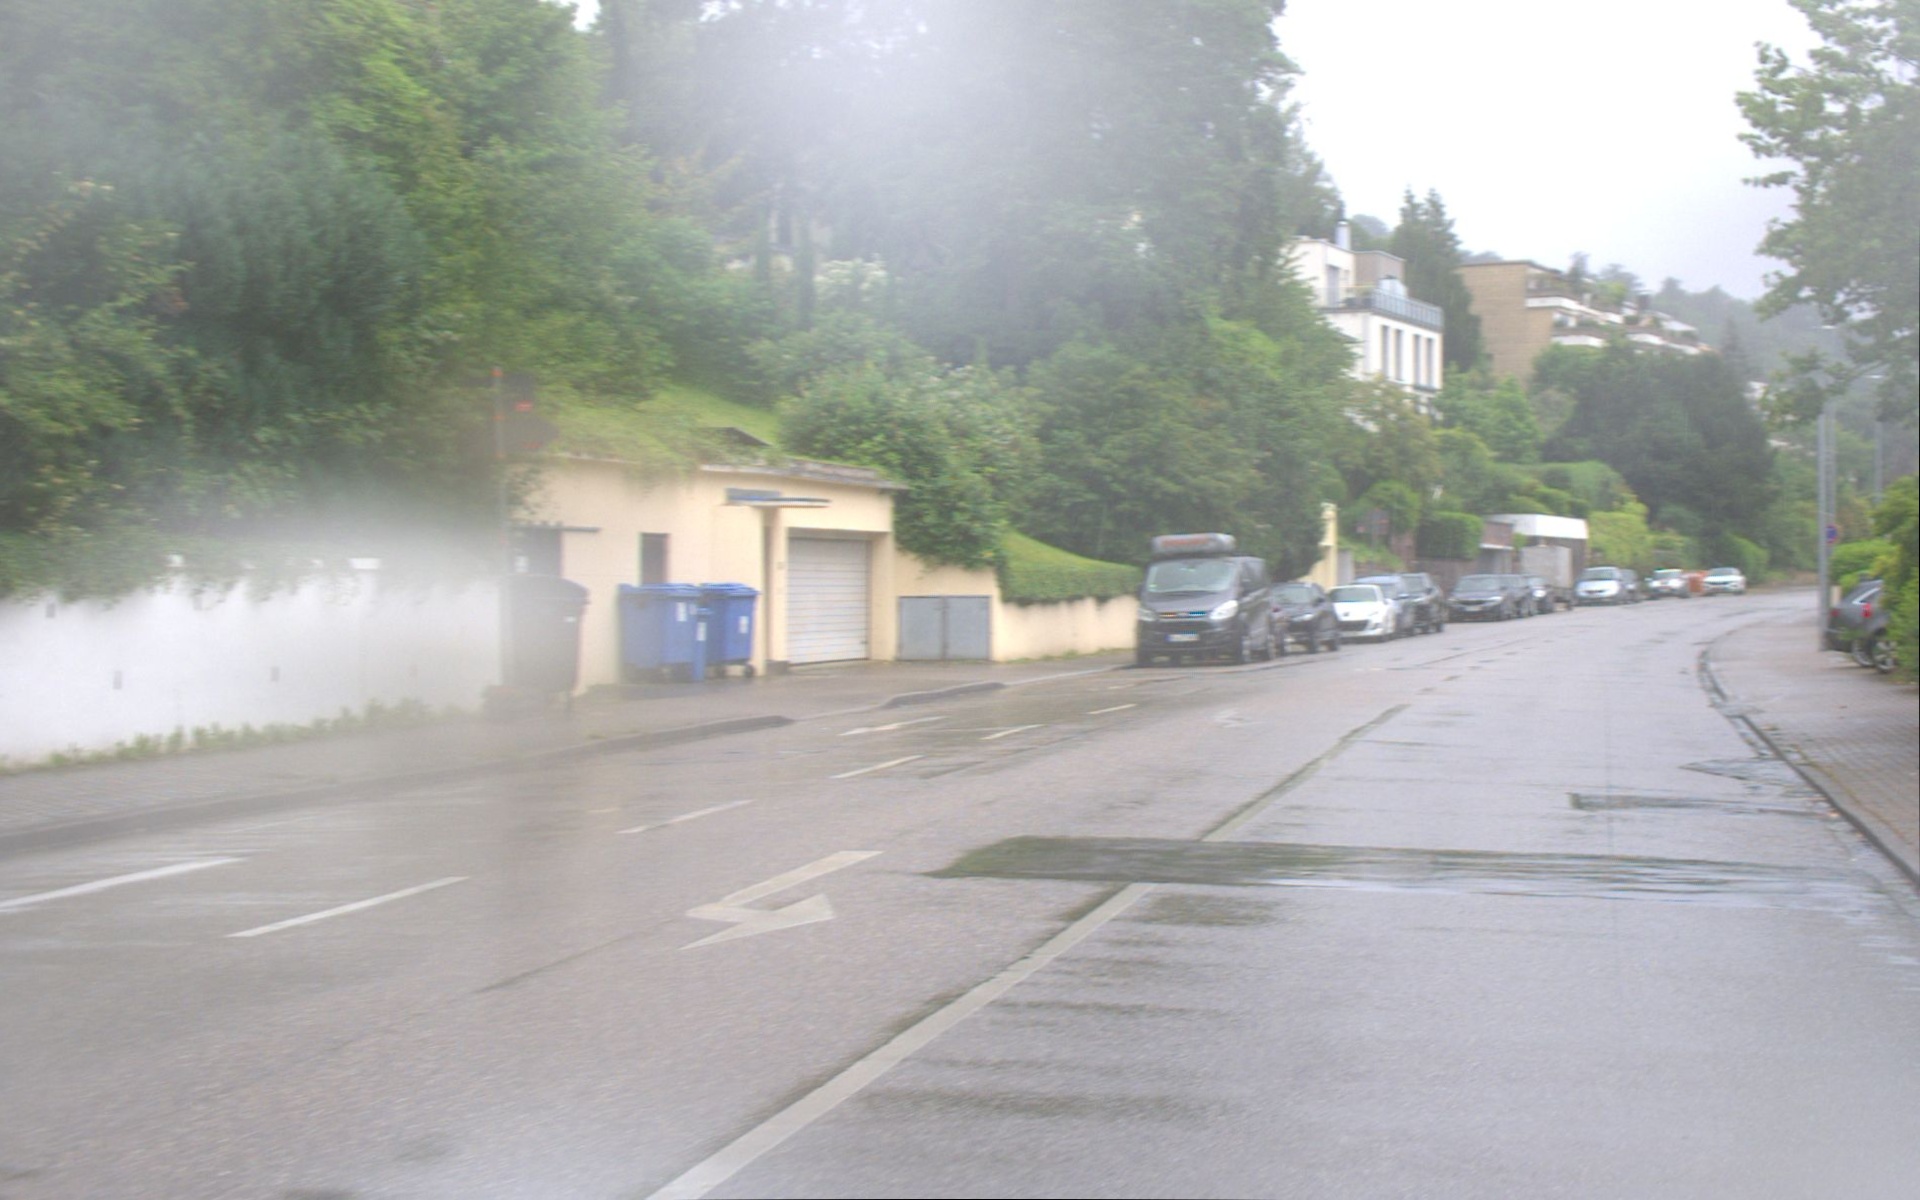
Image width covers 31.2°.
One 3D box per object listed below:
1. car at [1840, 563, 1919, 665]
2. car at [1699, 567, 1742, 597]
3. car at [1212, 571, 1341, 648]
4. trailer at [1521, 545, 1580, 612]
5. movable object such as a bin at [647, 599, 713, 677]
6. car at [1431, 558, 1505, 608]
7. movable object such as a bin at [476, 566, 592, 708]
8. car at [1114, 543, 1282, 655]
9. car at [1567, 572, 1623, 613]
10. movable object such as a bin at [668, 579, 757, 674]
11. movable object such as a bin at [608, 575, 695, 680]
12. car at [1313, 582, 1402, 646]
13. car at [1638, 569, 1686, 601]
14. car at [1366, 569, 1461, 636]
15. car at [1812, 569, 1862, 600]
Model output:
[{"bbox_3d":[14.873,0.204,49.407,1.767,1.452,3.998,-1,1,-44],"label":"car"},{"bbox_3d":[40.035,-0.963,181.027,1.757,1.493,4.216,-1,0,18],"label":"car"},{"bbox_3d":[6.710,0.185,72.464,1.909,1.475,4.752,-3,0,15],"label":"car"},{"bbox_3d":[21.930,-0.815,127.641,1.538,2.391,3.070,-2,0,20],"label":"trailer"},{"bbox_3d":[-3.850,0.518,47.319,0.736,1.038,0.607,1,0,16],"label":"movable object such as a bin"},{"bbox_3d":[16.344,-0.552,110.406,1.786,1.450,4.752,-3,1,14],"label":"car"},{"bbox_3d":[-4.500,0.387,36.393,0.933,1.440,0.861,3,0,10],"label":"movable object such as a bin"},{"bbox_3d":[4.364,-0.031,62.193,2.159,1.912,5.320,-1,0,13],"label":"car"},{"bbox_3d":[26.147,-0.325,141.451,1.757,1.534,3.753,-3,0,17],"label":"car"},{"bbox_3d":[-3.492,0.363,48.534,0.821,1.310,1.401,1,1,16],"label":"movable object such as a bin"},{"bbox_3d":[-4.154,0.364,46.364,0.821,1.377,1.134,1,1,16],"label":"movable object such as a bin"},{"bbox_3d":[9.659,0.331,83.241,1.717,1.361,4.081,-3,1,12],"label":"car"},{"bbox_3d":[33.314,-0.722,163.088,1.757,1.398,3.767,-3,0,18],"label":"car"},{"bbox_3d":[12.325,0.050,93.180,1.875,1.620,4.590,-3,0,15],"label":"car"},{"bbox_3d":[41.238,-0.746,161.614,1.791,1.455,4.304,0,1,21],"label":"car"}]
